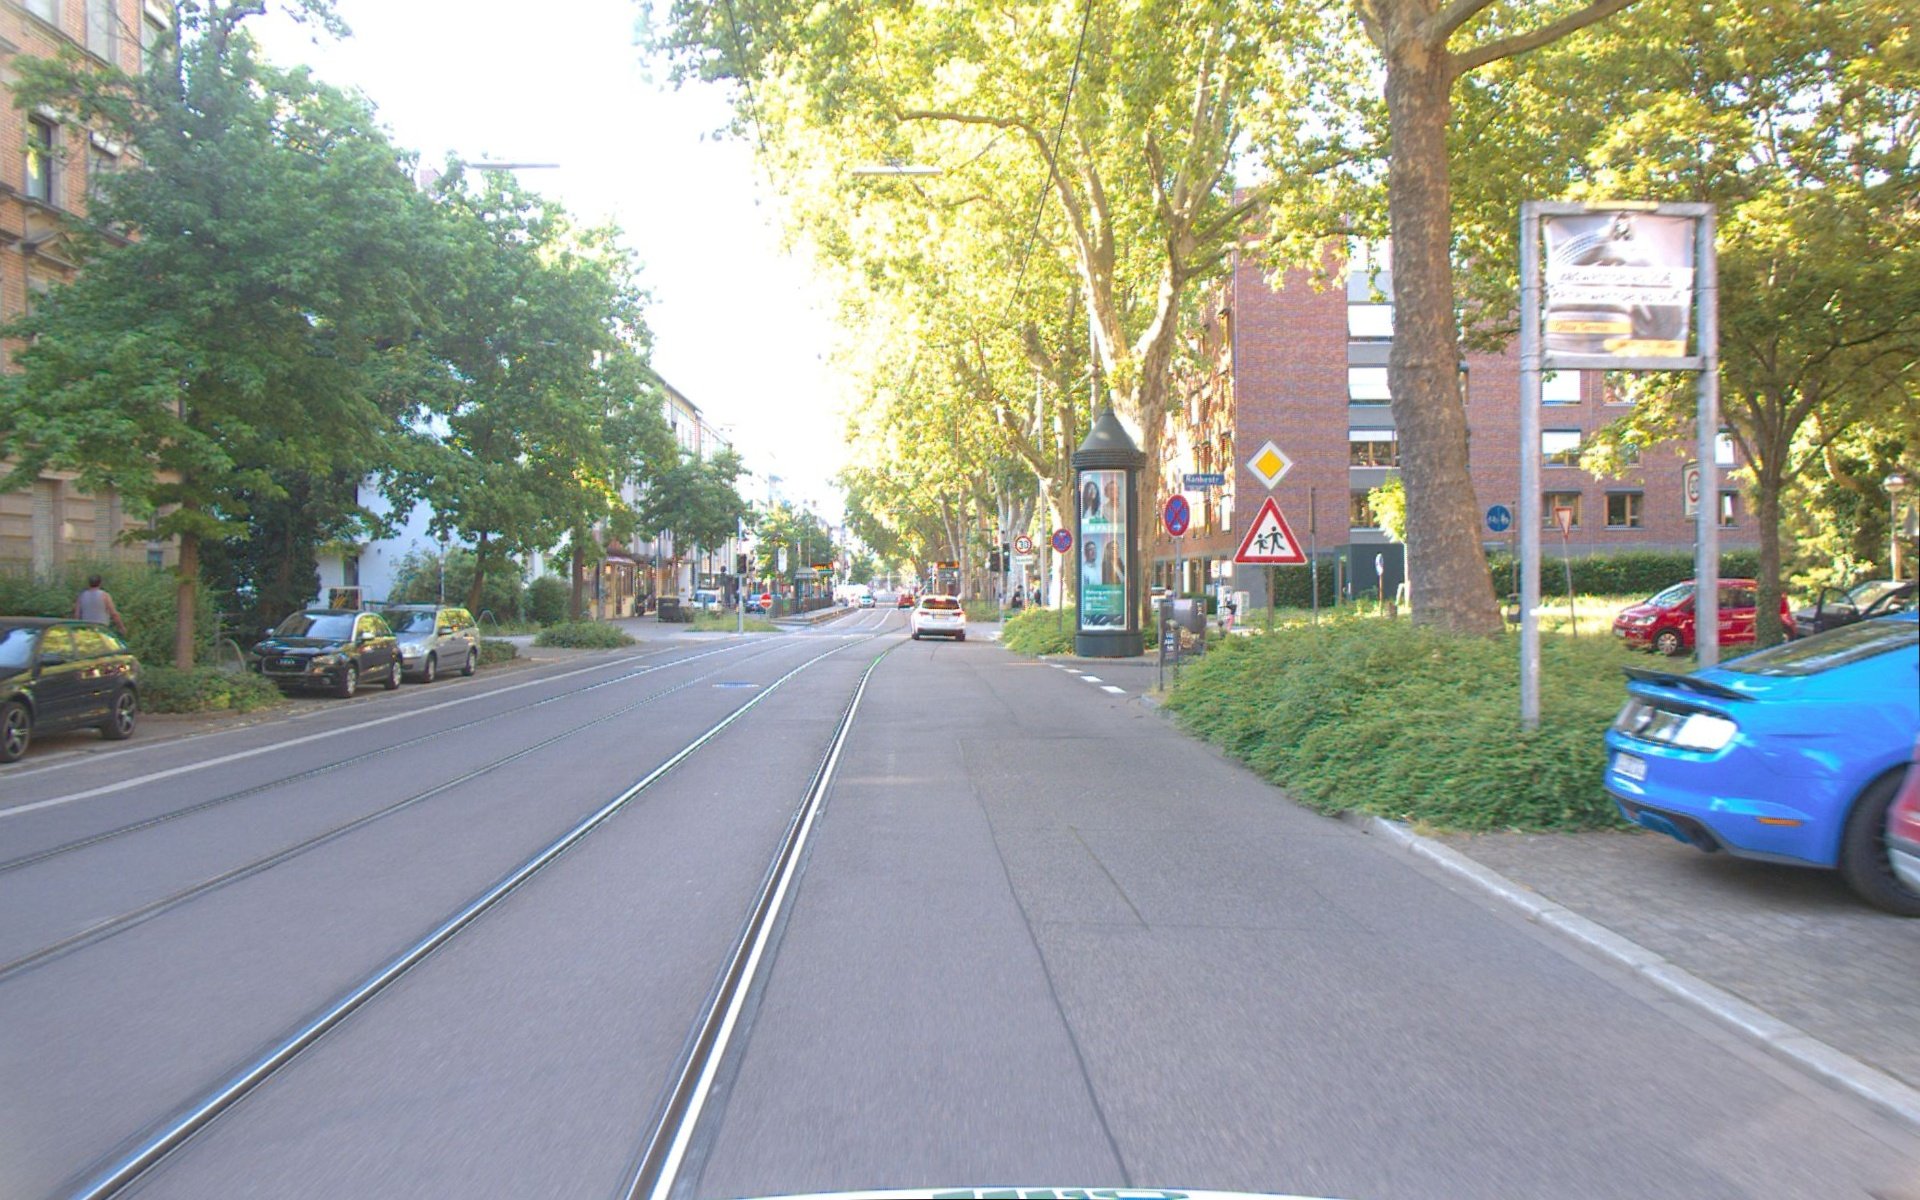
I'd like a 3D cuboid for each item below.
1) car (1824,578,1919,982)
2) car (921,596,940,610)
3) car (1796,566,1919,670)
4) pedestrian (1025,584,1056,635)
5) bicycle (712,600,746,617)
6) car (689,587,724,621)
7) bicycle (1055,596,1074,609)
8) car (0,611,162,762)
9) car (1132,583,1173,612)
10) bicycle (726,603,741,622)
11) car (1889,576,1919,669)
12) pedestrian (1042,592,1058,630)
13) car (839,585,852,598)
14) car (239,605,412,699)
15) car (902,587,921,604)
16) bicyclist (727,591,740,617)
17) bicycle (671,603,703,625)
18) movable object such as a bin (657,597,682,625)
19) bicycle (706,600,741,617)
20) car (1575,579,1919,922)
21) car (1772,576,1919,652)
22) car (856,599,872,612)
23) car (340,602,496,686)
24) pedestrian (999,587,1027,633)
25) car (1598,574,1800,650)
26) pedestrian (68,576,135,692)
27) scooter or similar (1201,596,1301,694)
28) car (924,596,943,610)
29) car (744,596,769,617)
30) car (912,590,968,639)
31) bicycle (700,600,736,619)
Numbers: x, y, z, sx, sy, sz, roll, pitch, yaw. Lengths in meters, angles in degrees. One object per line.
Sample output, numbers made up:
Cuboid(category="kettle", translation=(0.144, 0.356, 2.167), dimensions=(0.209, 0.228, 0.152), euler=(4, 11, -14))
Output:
Cuboid(category="car", translation=(5.873, 0.669, 6.132), dimensions=(4.313, 1.570, 1.952), euler=(-1, 0, 0))
Cuboid(category="car", translation=(-3.315, 0.336, 185.669), dimensions=(1.953, 1.478, 3.998), euler=(-1, 0, -2))
Cuboid(category="car", translation=(15.576, 0.251, 26.335), dimensions=(1.755, 1.602, 4.570), euler=(-1, 0, -7))
Cuboid(category="pedestrian", translation=(3.158, 0.362, 64.995), dimensions=(0.964, 1.896, 1.014), euler=(-4, 1, -8))
Cuboid(category="bicycle", translation=(-15.906, 0.589, 113.739), dimensions=(2.207, 1.093, 0.636), euler=(3, 0, -1))
Cuboid(category="car", translation=(-15.158, 0.229, 99.021), dimensions=(1.654, 1.974, 3.998), euler=(-1, 0, -2))
Cuboid(category="bicycle", translation=(8.707, 0.180, 138.200), dimensions=(1.533, 1.055, 0.479), euler=(-1, 0, 19))
Cuboid(category="car", translation=(-10.704, 0.905, 18.329), dimensions=(1.816, 1.484, 4.267), euler=(-1, 0, -3))
Cuboid(category="car", translation=(10.227, -0.126, 87.905), dimensions=(1.568, 1.521, 3.414), euler=(-1, 0, -4))
Cuboid(category="bicycle", translation=(-13.143, 0.719, 95.974), dimensions=(0.628, 1.004, 2.100), euler=(-2, 0, -3))
Cuboid(category="car", translation=(17.708, 0.383, 27.299), dimensions=(1.755, 1.602, 4.570), euler=(-1, 0, -7))
Cuboid(category="pedestrian", translation=(4.147, 0.506, 75.977), dimensions=(0.639, 1.698, 0.737), euler=(-1, 0, -3))
Cuboid(category="car", translation=(-16.963, -1.313, 245.689), dimensions=(1.828, 1.925, 3.998), euler=(-1, 0, -2))
Cuboid(category="car", translation=(-10.871, 0.840, 28.614), dimensions=(1.625, 1.470, 3.947), euler=(0, 0, -3))
Cuboid(category="car", translation=(-4.630, -0.410, 157.461), dimensions=(1.752, 1.540, 3.998), euler=(-1, 0, -2))
Cuboid(category="bicyclist", translation=(-13.167, 0.230, 95.982), dimensions=(0.628, 1.480, 0.836), euler=(-2, 0, -3))
Cuboid(category="bicycle", translation=(-14.482, 0.741, 87.717), dimensions=(1.503, 1.094, 0.885), euler=(2, 0, -3))
Cuboid(category="movable object such as a bin", translation=(-15.041, 0.575, 85.621), dimensions=(1.147, 1.372, 0.782), euler=(3, 0, -7))
Cuboid(category="bicycle", translation=(-15.981, 0.576, 111.904), dimensions=(2.207, 1.093, 0.636), euler=(3, 0, -1))
Cuboid(category="car", translation=(5.609, 0.670, 8.406), dimensions=(4.310, 1.570, 1.819), euler=(-1, 0, 5))
Cuboid(category="car", translation=(19.304, 0.264, 34.593), dimensions=(3.840, 1.477, 1.682), euler=(-1, 0, -4))
Cuboid(category="car", translation=(-10.640, 0.617, 183.212), dimensions=(1.660, 1.444, 3.998), euler=(-1, 0, -2))
Cuboid(category="car", translation=(-11.069, 0.848, 34.096), dimensions=(1.664, 1.577, 4.536), euler=(0, 0, 1))
Cuboid(category="pedestrian", translation=(2.174, 0.395, 67.533), dimensions=(0.975, 1.842, 0.863), euler=(-1, 0, -8))
Cuboid(category="car", translation=(15.465, 0.241, 34.711), dimensions=(3.468, 1.477, 1.682), euler=(-1, 0, -4))
Cuboid(category="pedestrian", translation=(-14.197, 0.552, 27.371), dimensions=(0.727, 1.879, 0.728), euler=(1, 0, -4))
Cuboid(category="scooter or similar", translation=(3.857, 0.592, 21.987), dimensions=(1.184, 1.261, 0.569), euler=(-1, 0, -4))
Cuboid(category="car", translation=(-2.942, 0.336, 180.596), dimensions=(1.953, 1.478, 3.998), euler=(-1, 0, -2))
Cuboid(category="car", translation=(-16.106, 0.484, 131.020), dimensions=(1.561, 1.575, 3.998), euler=(2, 0, -2))
Cuboid(category="car", translation=(-0.692, 0.456, 54.667), dimensions=(1.752, 1.540, 3.998), euler=(-1, 0, -2))
Cuboid(category="bicycle", translation=(-15.562, 0.597, 106.475), dimensions=(2.207, 1.093, 0.636), euler=(3, 0, -1))
